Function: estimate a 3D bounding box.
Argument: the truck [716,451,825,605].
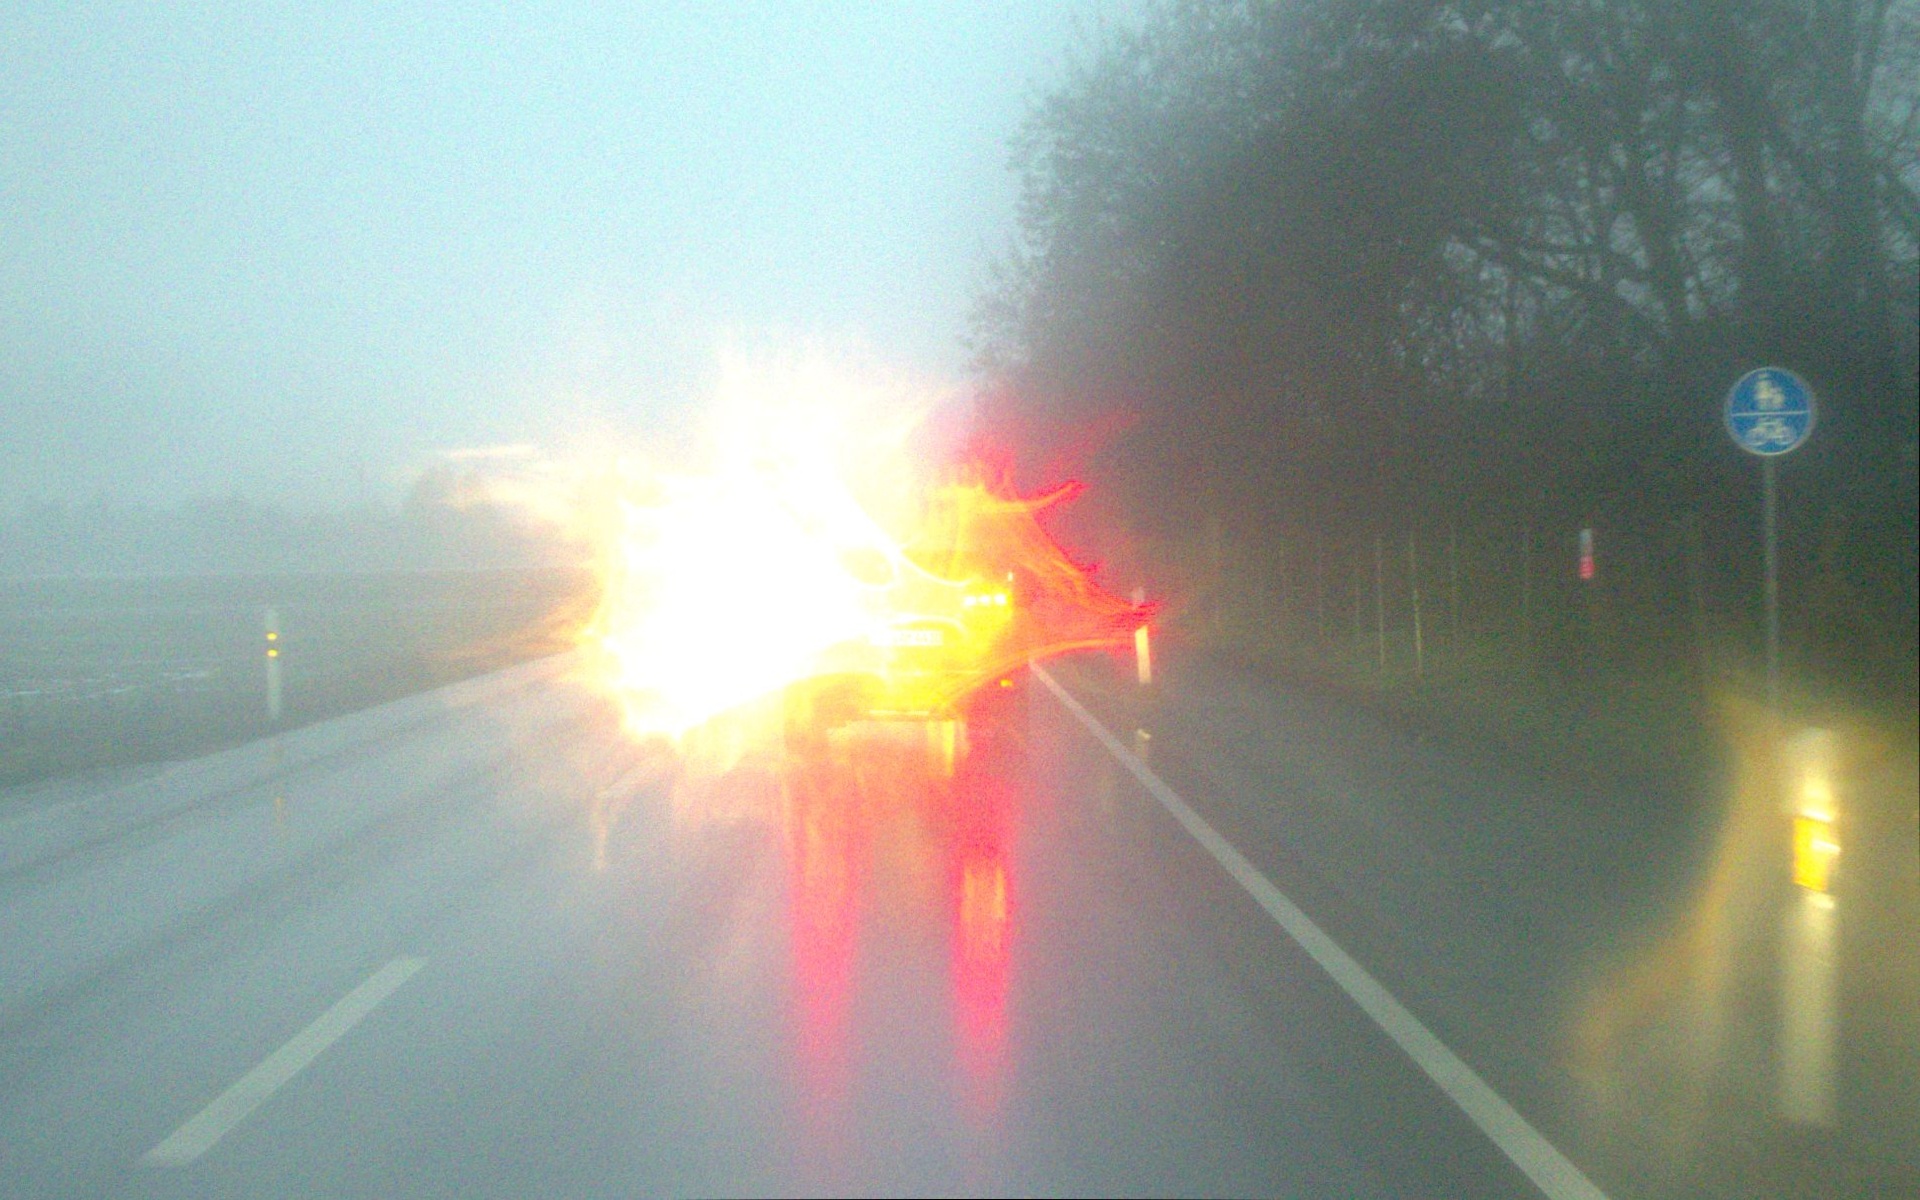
[{"bbox_3d":[-5.266,-2.005,96.405,2.725,4.091,6.589,-1,1,-1],"label":"truck"}]

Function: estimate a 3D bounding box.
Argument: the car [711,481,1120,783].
[{"bbox_3d":[-0.321,0.188,26.756,2.820,2.070,5.804,0,1,0],"label":"car"}]
